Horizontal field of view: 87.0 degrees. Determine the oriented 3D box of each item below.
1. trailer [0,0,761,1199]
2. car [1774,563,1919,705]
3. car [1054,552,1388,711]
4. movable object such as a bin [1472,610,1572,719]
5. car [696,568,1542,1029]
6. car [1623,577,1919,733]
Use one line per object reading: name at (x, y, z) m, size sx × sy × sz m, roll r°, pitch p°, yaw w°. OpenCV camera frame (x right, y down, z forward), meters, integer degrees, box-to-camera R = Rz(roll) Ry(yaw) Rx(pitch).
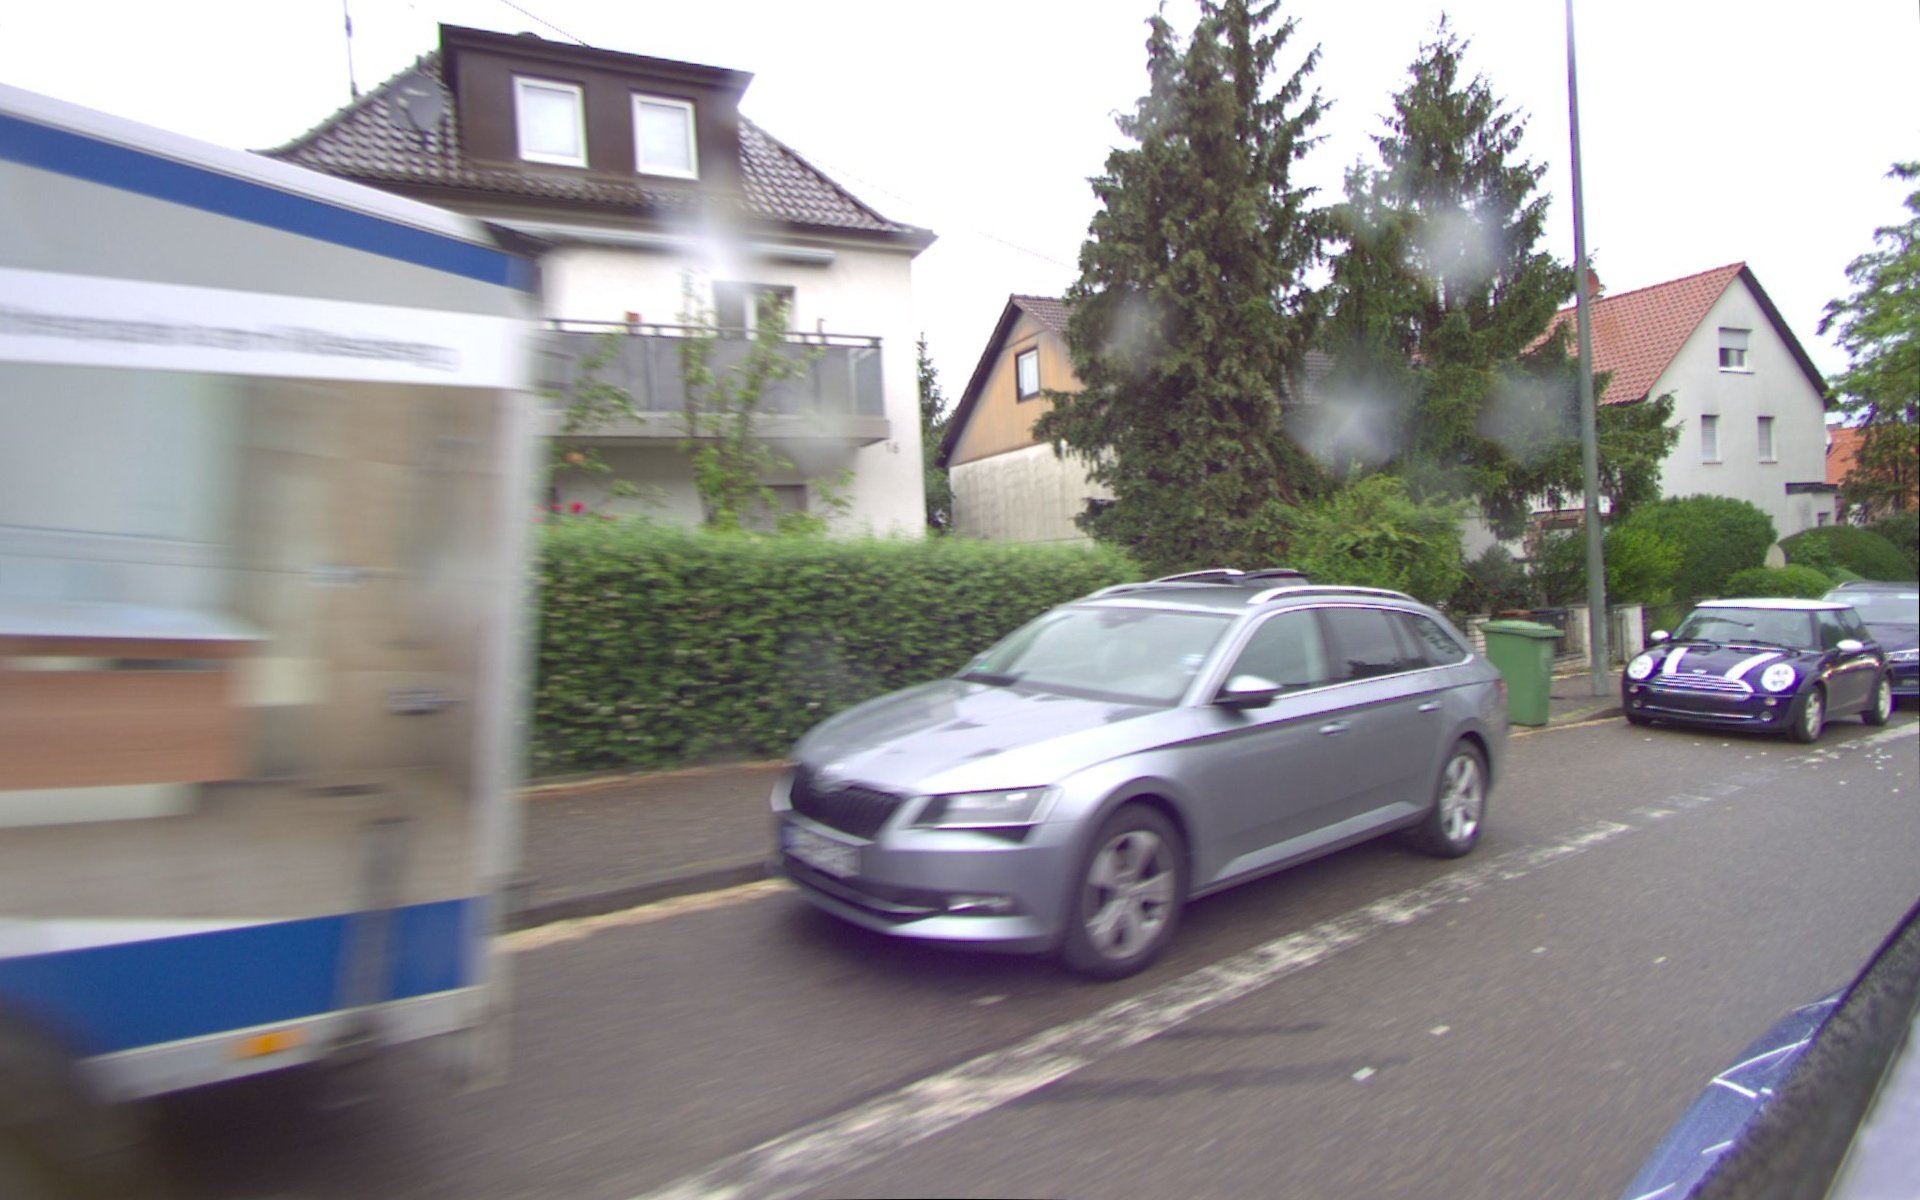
trailer at (-3.165, 0.066, 1.625) m, size 5.339 × 2.487 × 1.952 m, roll -1°, pitch 1°, yaw -41°
car at (13.167, 0.390, 14.026) m, size 4.376 × 1.722 × 1.835 m, roll -1°, pitch 1°, yaw -35°
car at (3.158, 0.446, 13.069) m, size 1.742 × 1.710 × 4.017 m, roll 0°, pitch -3°, yaw -32°
movable object such as a bin at (6.008, 0.662, 10.822) m, size 0.688 × 1.111 × 0.704 m, roll 0°, pitch -1°, yaw -36°
car at (1.153, 0.591, 5.307) m, size 4.619 × 1.442 × 1.751 m, roll -1°, pitch 1°, yaw -39°
car at (9.096, 0.496, 11.257) m, size 3.630 × 1.475 × 1.639 m, roll -1°, pitch 1°, yaw -35°
